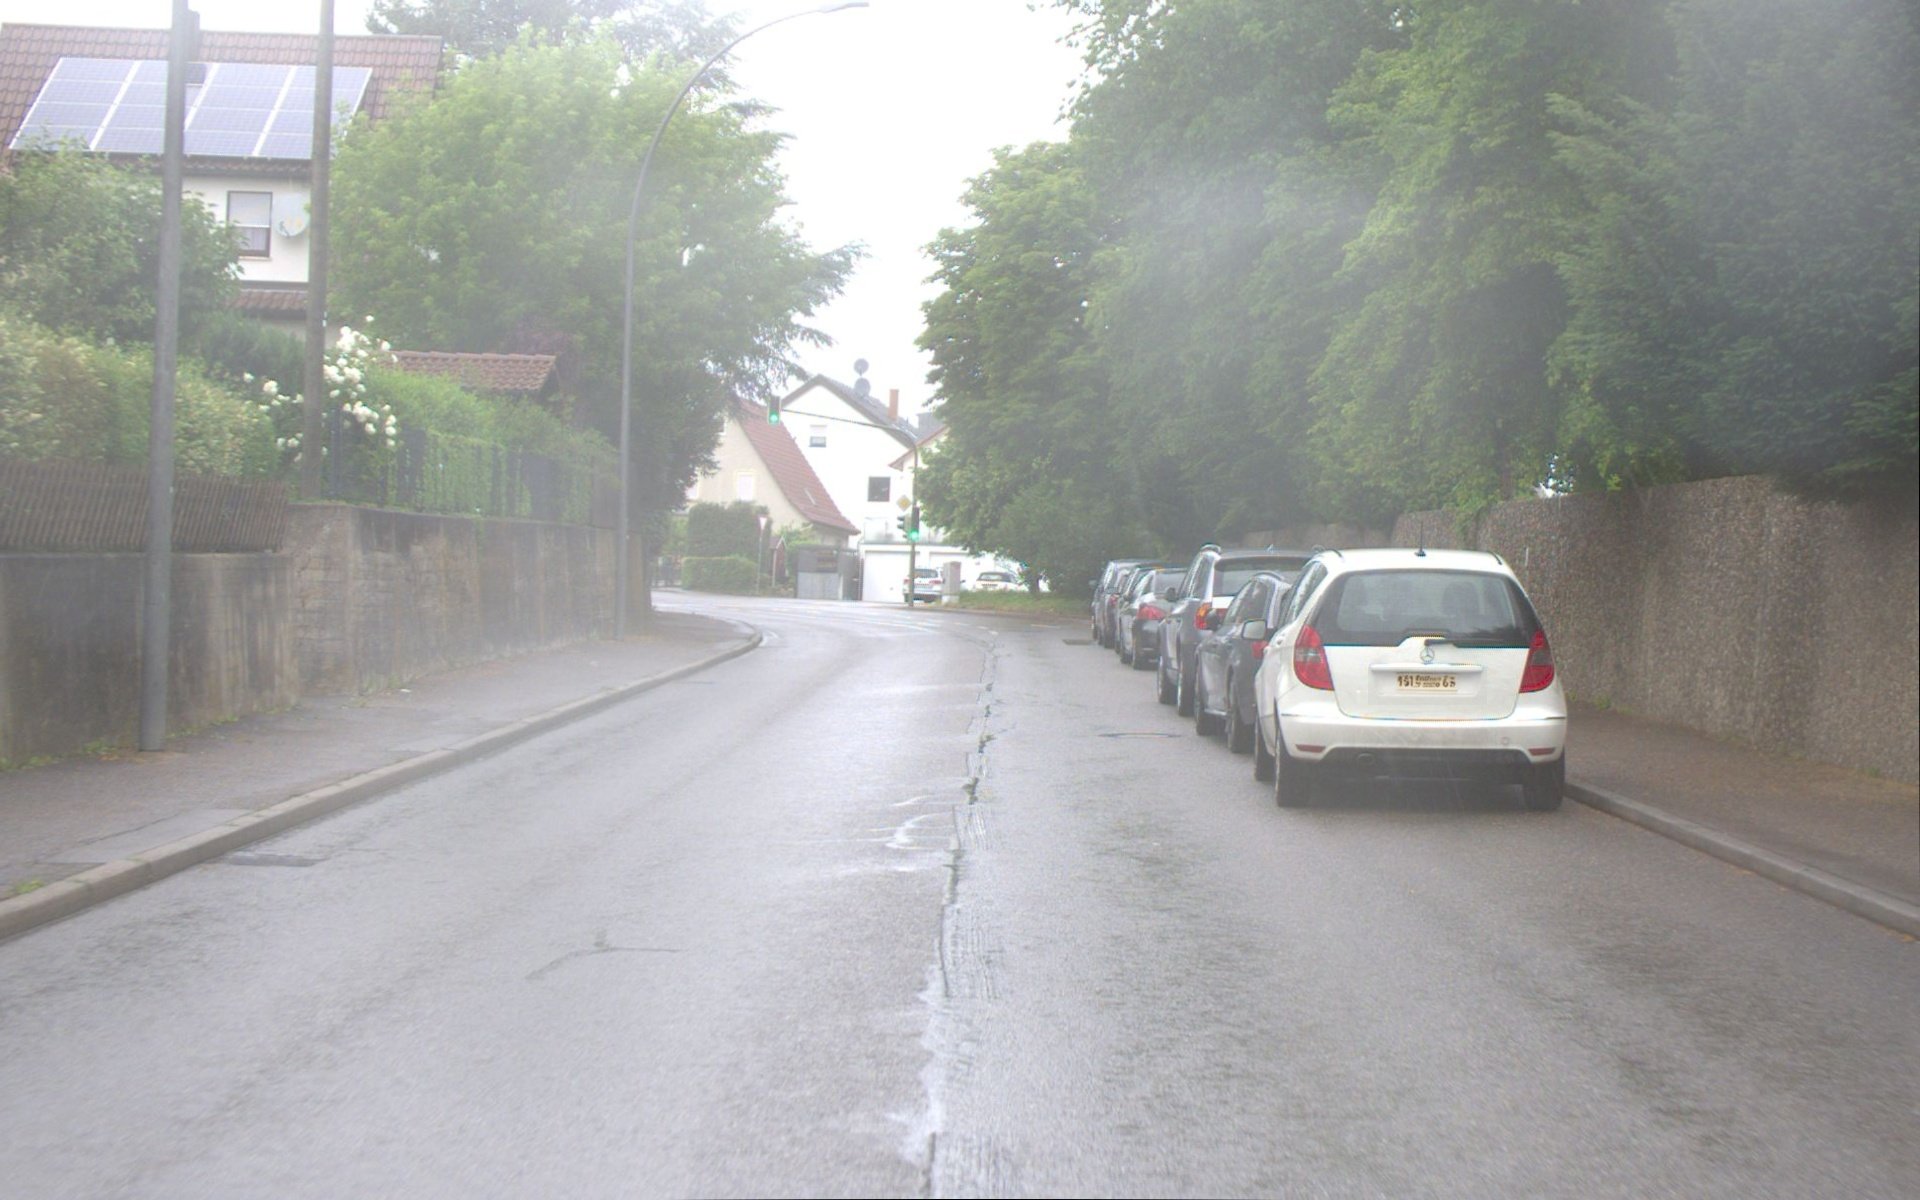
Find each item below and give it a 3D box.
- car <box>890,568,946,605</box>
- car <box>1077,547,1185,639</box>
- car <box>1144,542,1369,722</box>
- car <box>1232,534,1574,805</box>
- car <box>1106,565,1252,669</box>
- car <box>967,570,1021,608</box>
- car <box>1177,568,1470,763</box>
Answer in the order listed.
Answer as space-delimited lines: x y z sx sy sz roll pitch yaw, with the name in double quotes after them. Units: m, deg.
-1.670 -0.553 139.223 1.907 1.437 3.999 1 1 4 "car"
2.878 -0.143 58.620 1.647 1.492 4.246 1 1 1 "car"
2.916 0.295 34.643 1.742 1.662 4.498 1 0 -1 "car"
2.780 0.410 22.335 1.815 1.568 3.880 1 0 2 "car"
3.036 0.209 48.416 1.651 1.367 4.182 1 1 -2 "car"
1.405 -0.456 138.723 1.907 1.437 3.999 1 1 4 "car"
2.904 0.492 28.431 1.764 1.442 4.697 1 0 -2 "car"
